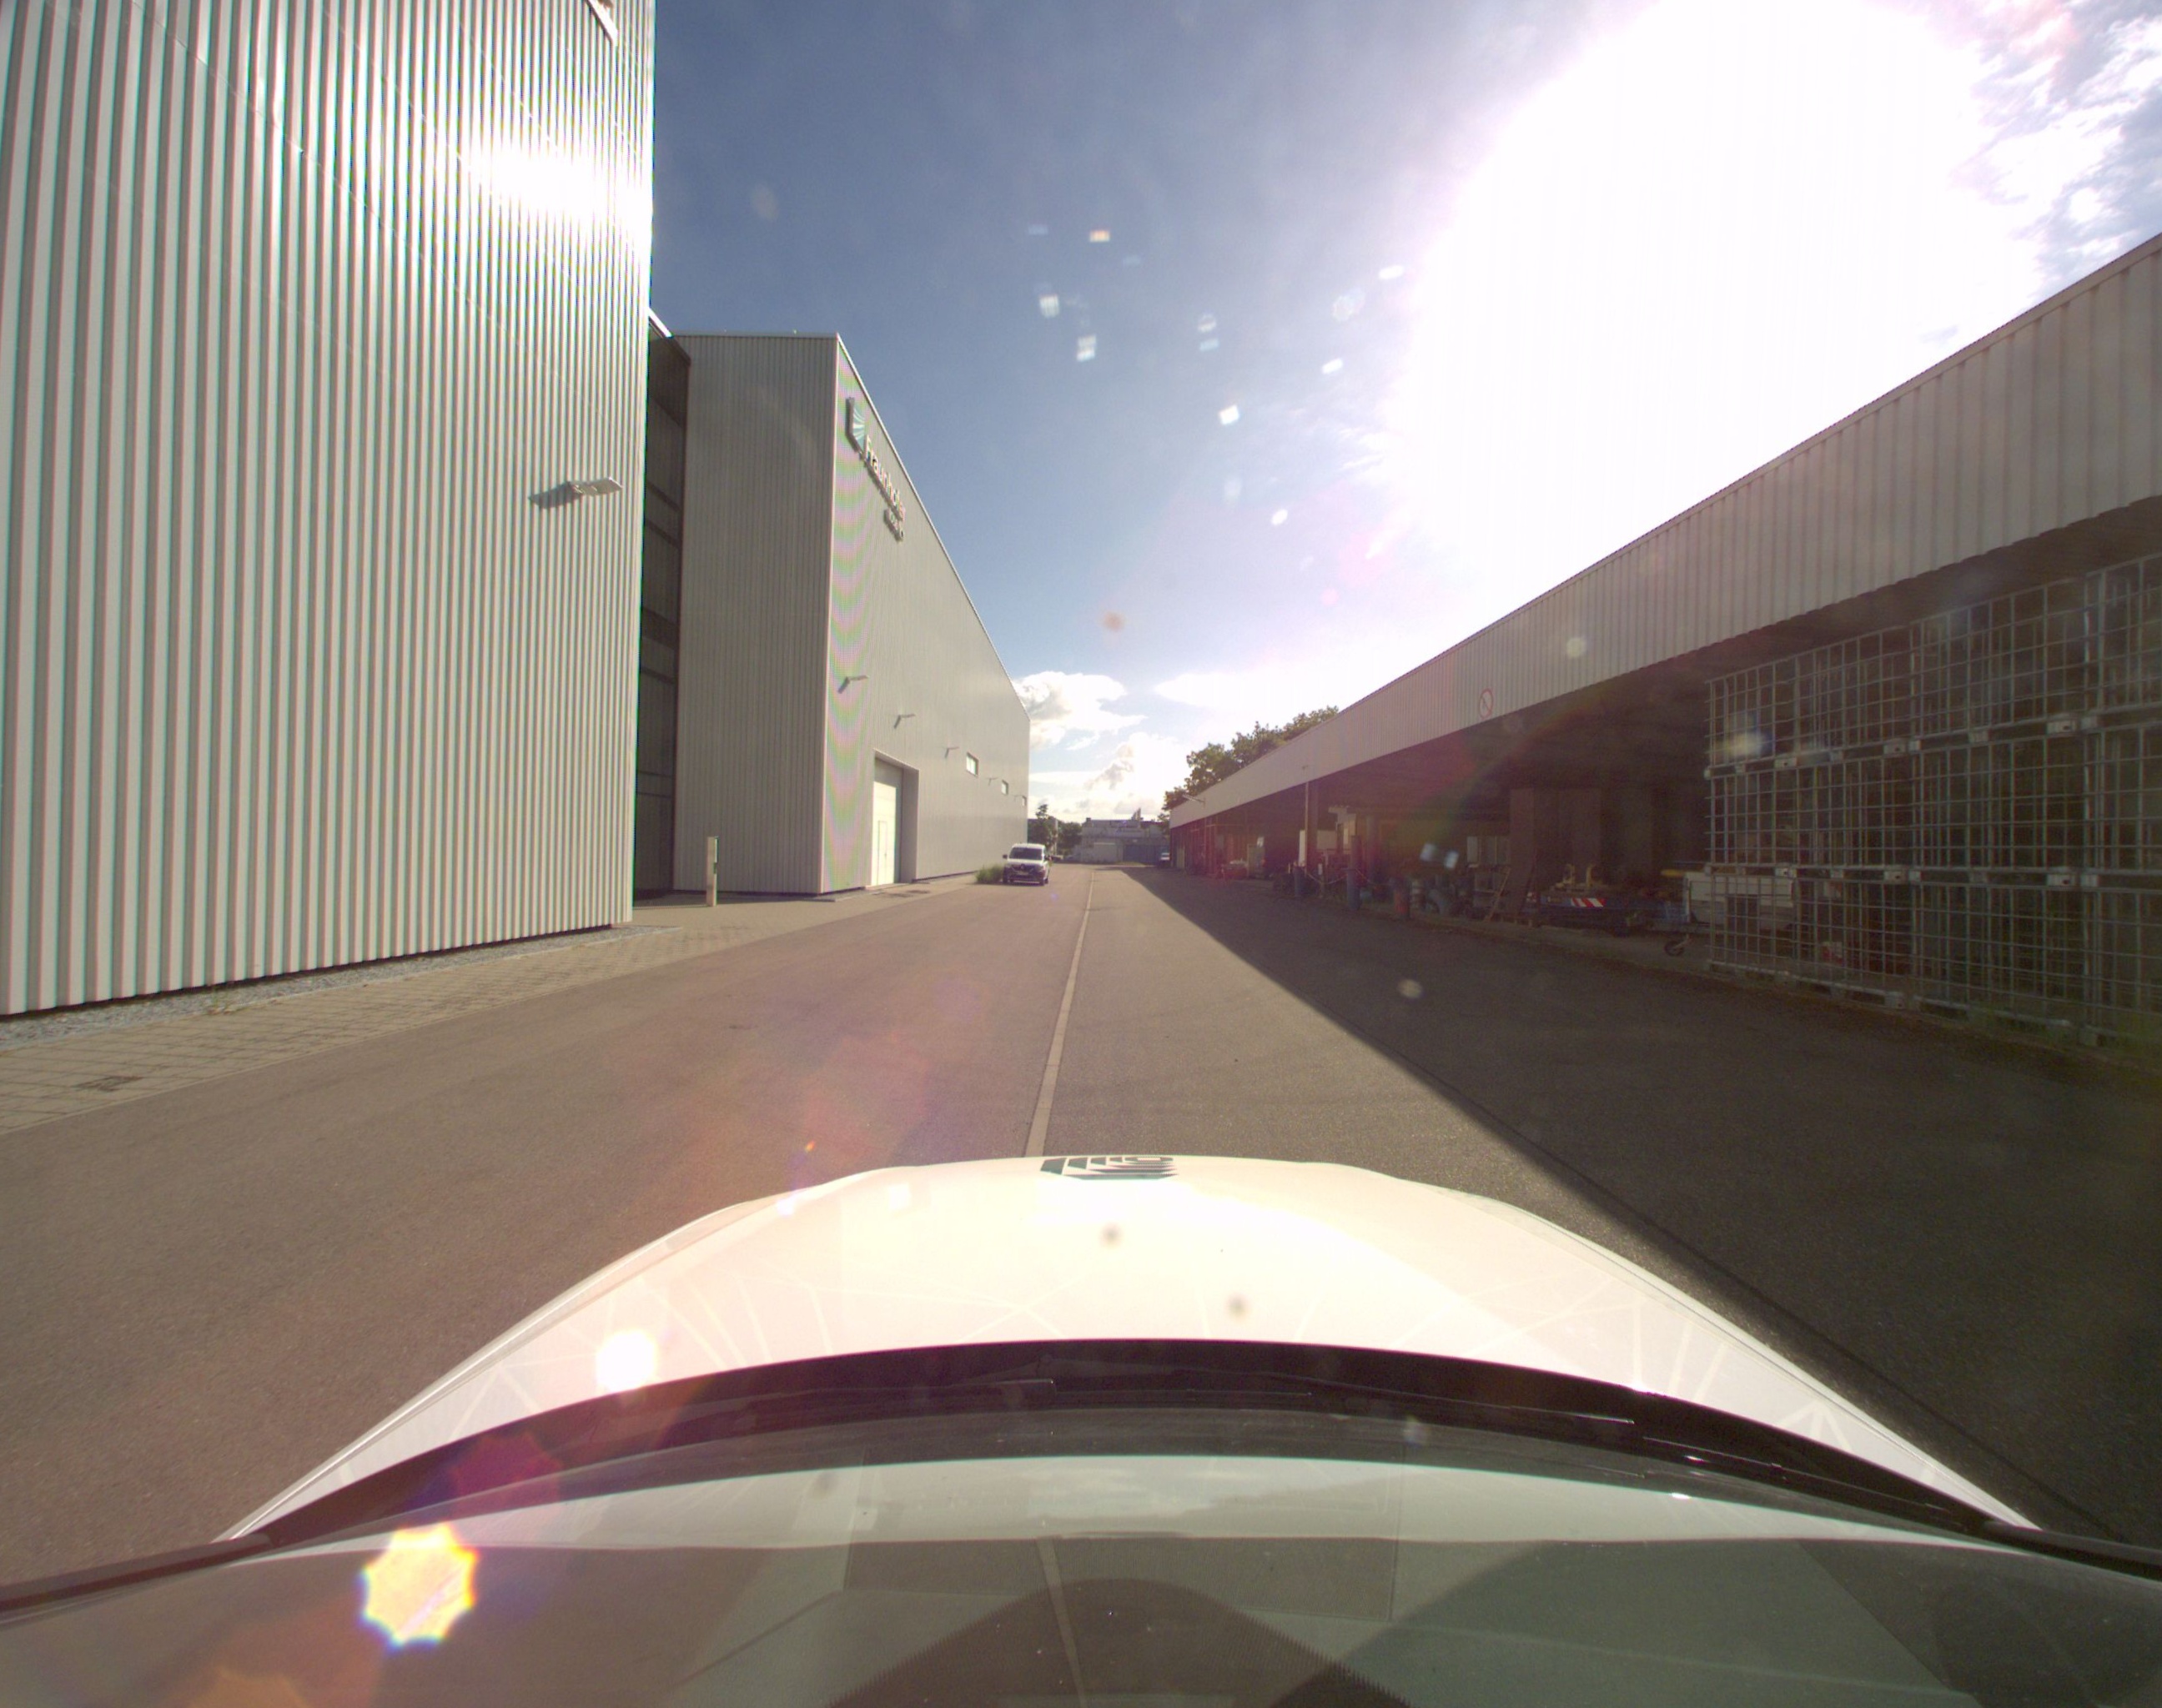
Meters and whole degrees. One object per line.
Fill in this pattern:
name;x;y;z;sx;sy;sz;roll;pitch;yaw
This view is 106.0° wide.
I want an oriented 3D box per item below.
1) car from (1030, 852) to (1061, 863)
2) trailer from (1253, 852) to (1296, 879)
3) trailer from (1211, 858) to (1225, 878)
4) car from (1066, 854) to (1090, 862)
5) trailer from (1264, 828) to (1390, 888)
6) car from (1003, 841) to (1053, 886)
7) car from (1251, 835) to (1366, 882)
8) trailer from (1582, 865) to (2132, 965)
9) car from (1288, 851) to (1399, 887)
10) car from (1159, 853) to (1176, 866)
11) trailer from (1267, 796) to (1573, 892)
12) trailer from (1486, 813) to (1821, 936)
car;-5.189;0.466;118.473;4.433;1.531;1.824;0;-1;0
trailer;10.490;0.618;44.210;2.028;1.466;1.740;0;0;5
trailer;7.968;0.796;47.337;0.550;1.118;1.546;0;-1;-1
car;-0.445;0.663;146.337;4.288;1.457;1.824;0;-1;0
trailer;9.828;0.168;32.807;4.499;2.342;2.048;0;-1;1
car;-2.321;0.422;36.487;1.777;1.816;4.602;2;0;1
car;11.560;0.226;41.591;5.315;2.281;2.152;0;-1;0
trailer;10.281;0.774;11.129;5.710;1.185;1.974;0;-1;-1
car;11.349;0.631;35.350;4.237;1.471;1.868;0;0;-3
car;11.191;0.721;105.893;1.971;1.602;4.380;0;1;2
trailer;12.343;-0.344;30.293;10.231;3.343;2.802;0;0;1
trailer;9.937;0.353;14.473;4.405;1.990;2.164;0;-1;2
